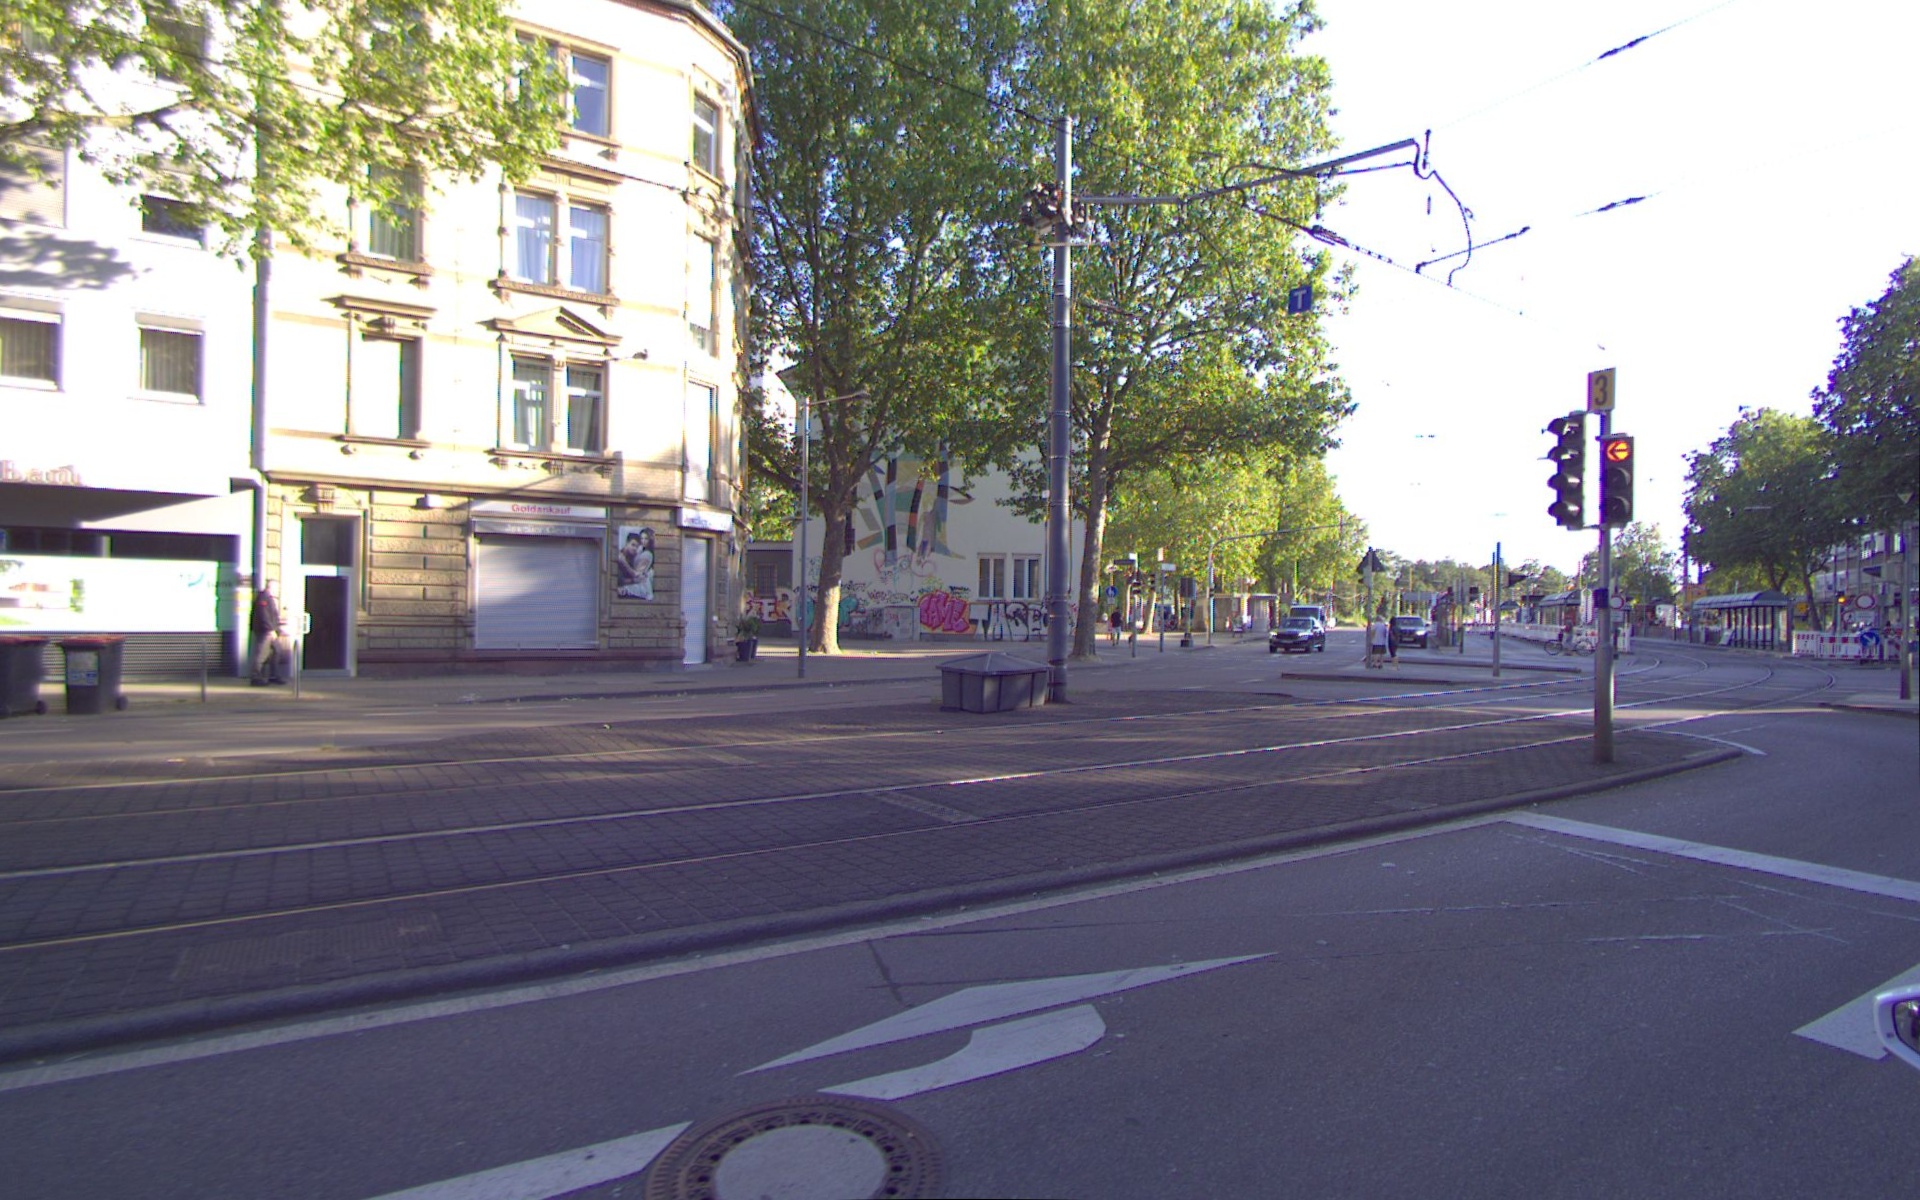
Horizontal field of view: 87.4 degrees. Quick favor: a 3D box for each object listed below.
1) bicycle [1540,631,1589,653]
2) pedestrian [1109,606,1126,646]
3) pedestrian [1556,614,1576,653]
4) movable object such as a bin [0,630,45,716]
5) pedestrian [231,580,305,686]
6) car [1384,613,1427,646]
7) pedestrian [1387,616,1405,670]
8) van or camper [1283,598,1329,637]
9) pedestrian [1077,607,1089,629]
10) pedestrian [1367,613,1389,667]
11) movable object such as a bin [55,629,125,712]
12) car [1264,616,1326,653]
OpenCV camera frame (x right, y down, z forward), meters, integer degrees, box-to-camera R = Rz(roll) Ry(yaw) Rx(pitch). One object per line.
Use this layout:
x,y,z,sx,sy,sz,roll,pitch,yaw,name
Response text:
27.180,1.880,45.180,1.811,0.955,0.463,1,0,24,bicycle
6.965,1.143,44.340,0.663,1.733,0.432,2,1,7,pedestrian
27.004,1.483,44.762,0.708,1.748,0.399,1,0,24,pedestrian
-12.683,0.955,13.315,0.634,1.108,0.546,0,-1,10,movable object such as a bin
-12.175,0.572,17.692,0.958,1.811,0.616,1,1,-26,pedestrian
23.437,1.530,52.744,1.857,1.606,4.202,1,-1,26,car
12.632,1.233,29.085,0.402,1.524,0.516,1,0,31,pedestrian
22.090,1.121,63.987,2.134,2.350,5.098,1,-1,27,van or camper
8.312,1.232,68.085,0.663,1.414,0.693,2,1,-1,pedestrian
12.070,1.149,29.003,0.512,1.524,0.592,1,0,31,pedestrian
-12.010,0.964,13.874,0.562,1.108,0.477,0,-1,10,movable object such as a bin
14.667,1.465,43.880,1.857,1.492,4.201,1,-1,28,car
